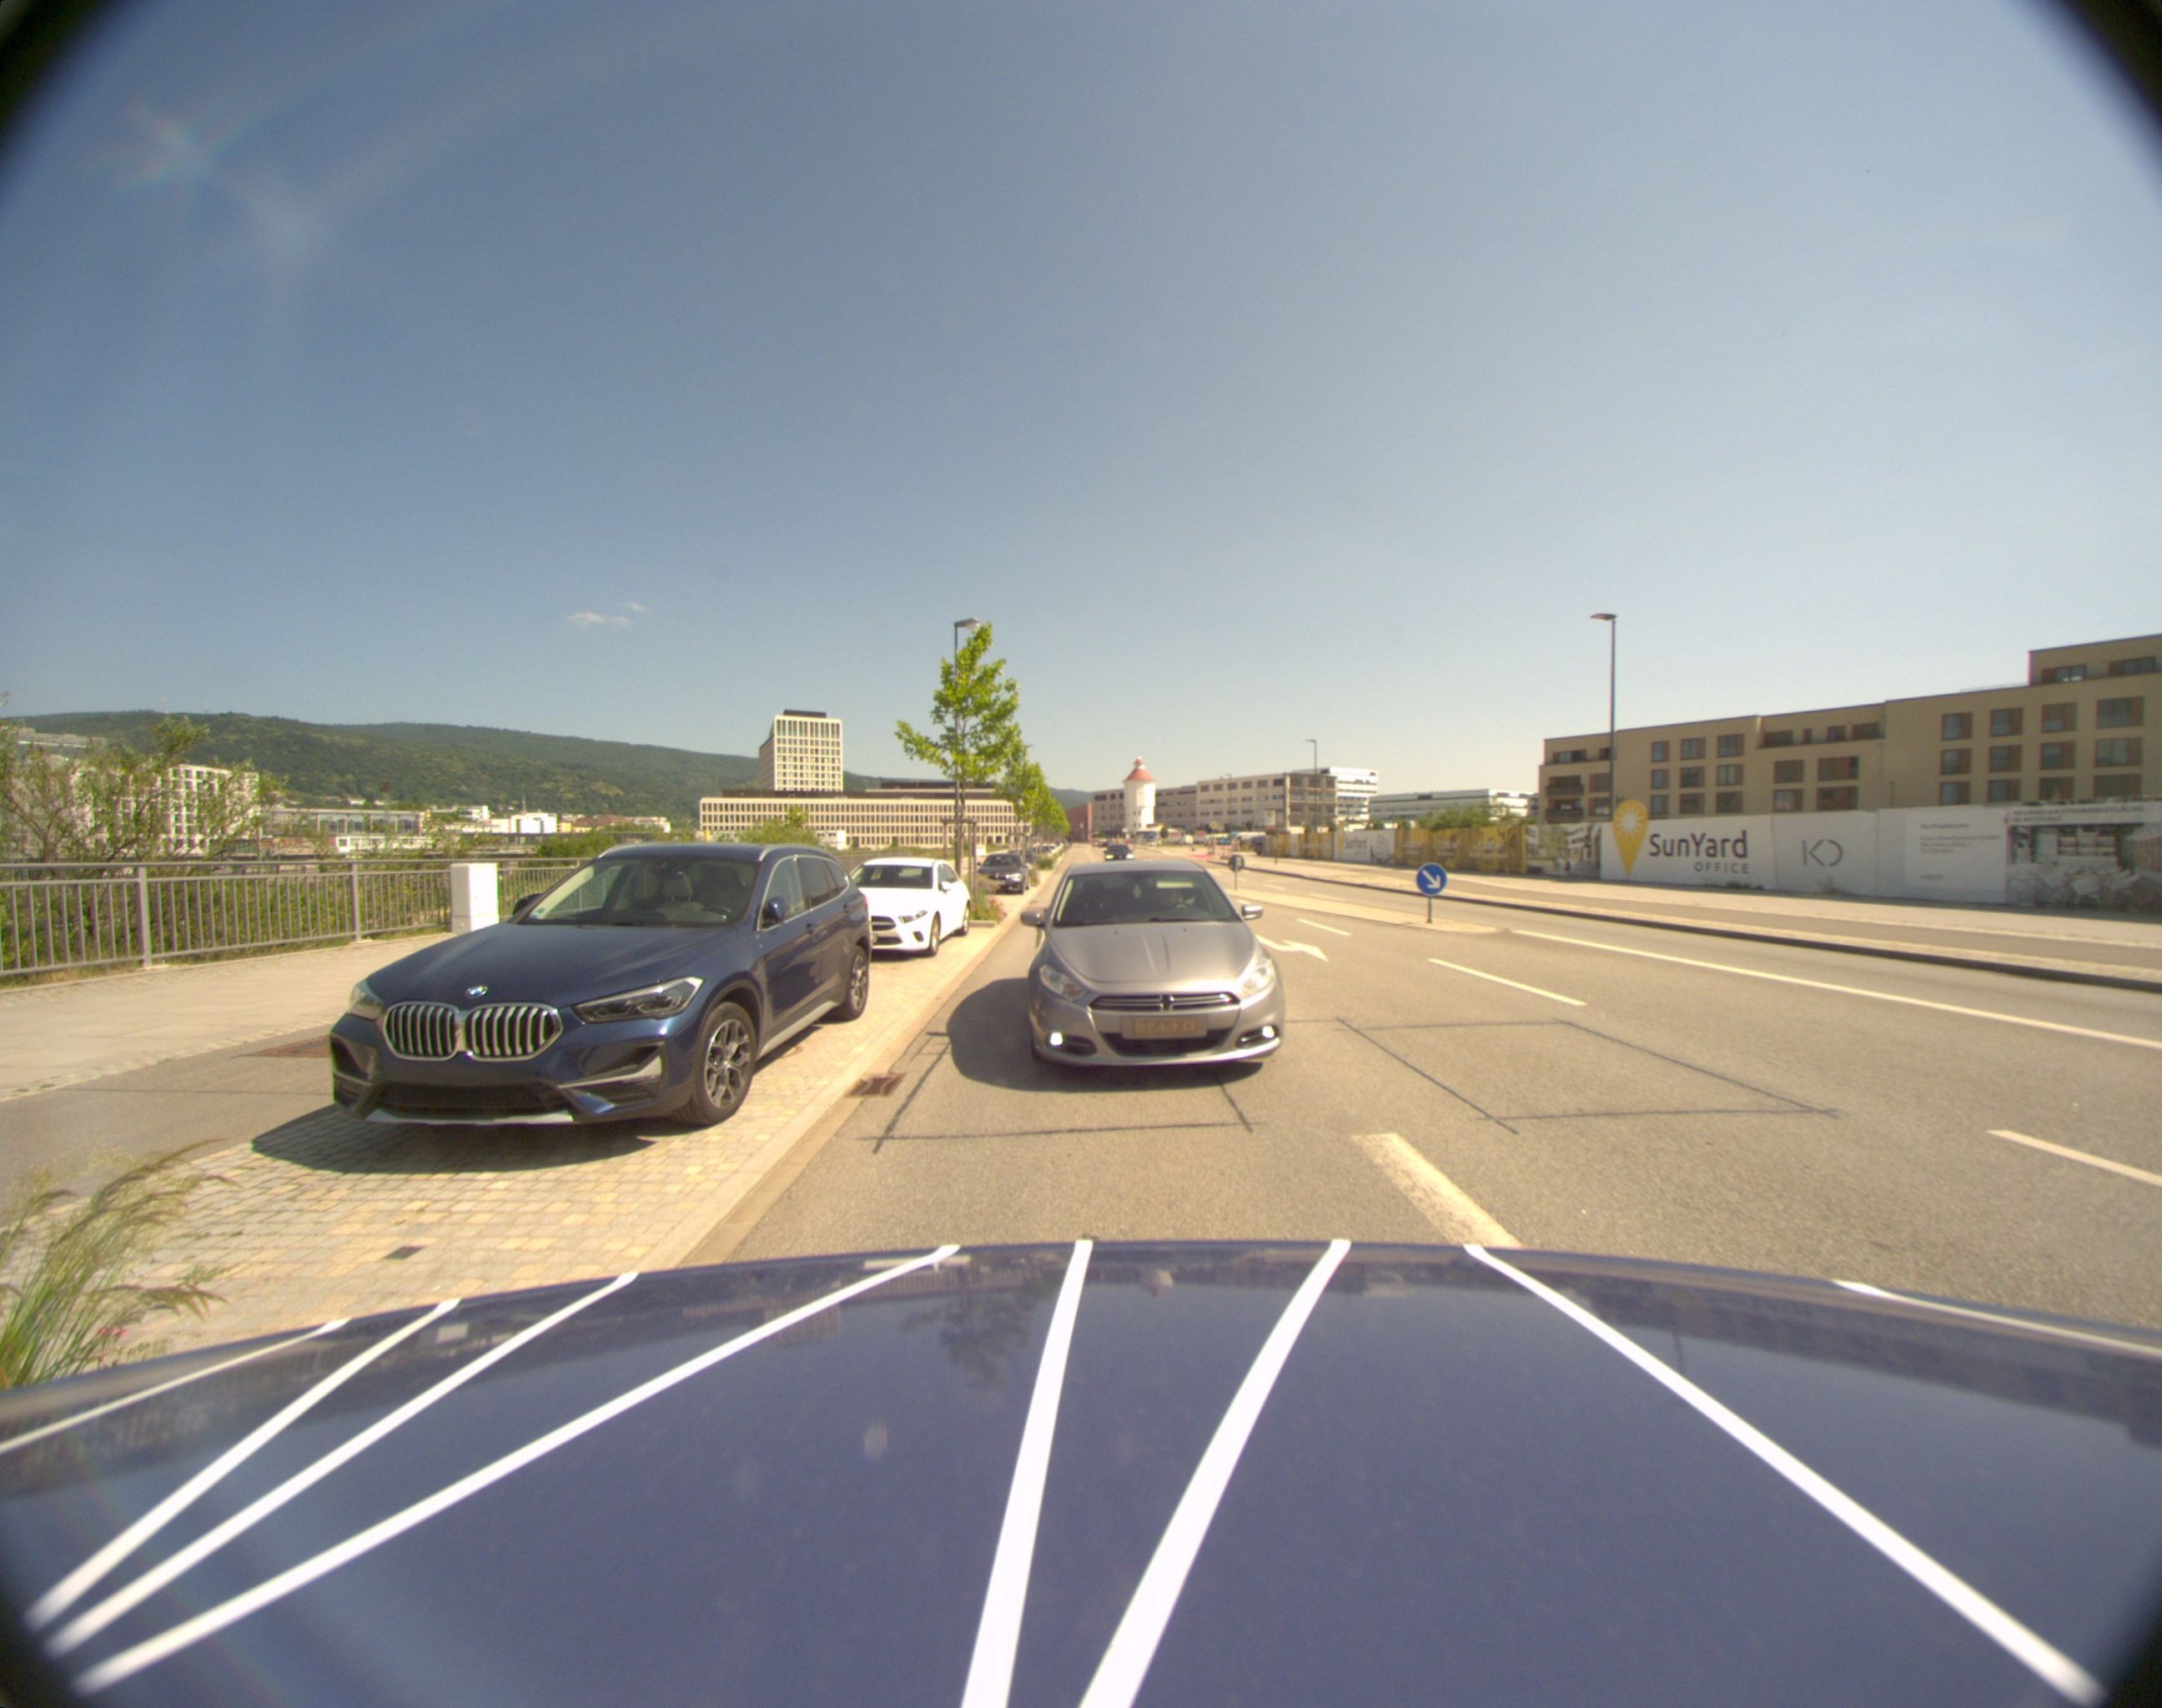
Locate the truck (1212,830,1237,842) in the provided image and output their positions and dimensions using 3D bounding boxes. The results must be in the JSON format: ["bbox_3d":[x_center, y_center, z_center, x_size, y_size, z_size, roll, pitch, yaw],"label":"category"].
[{"bbox_3d":[33.385,-4.176,177.277,5.333,2.461,1.999,-3,1,-4],"label":"truck"}]

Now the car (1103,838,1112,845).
[{"bbox_3d":[5.766,-2.653,163.383,1.820,1.458,4.346,-1,1,1],"label":"car"}]

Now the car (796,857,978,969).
[{"bbox_3d":[-2.936,0.815,12.464,1.710,1.366,4.270,2,1,2],"label":"car"}]

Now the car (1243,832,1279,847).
[{"bbox_3d":[22.878,-1.868,96.580,3.930,1.708,1.891,-3,1,-5],"label":"car"}]

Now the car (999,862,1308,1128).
[{"bbox_3d":[0.471,0.872,6.724,1.820,1.458,4.346,-1,1,1],"label":"car"}]

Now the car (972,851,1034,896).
[{"bbox_3d":[-2.790,0.656,27.856,1.808,1.424,3.915,2,1,0],"label":"car"}]

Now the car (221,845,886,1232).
[{"bbox_3d":[-2.878,0.798,5.498,1.808,1.674,4.270,1,1,0],"label":"car"}]

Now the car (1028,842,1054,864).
[{"bbox_3d":[-3.197,-0.133,60.832,1.768,1.609,3.373,-3,1,0],"label":"car"}]

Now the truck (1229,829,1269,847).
[{"bbox_3d":[23.367,-2.255,105.926,5.005,2.215,1.999,-2,1,-1],"label":"truck"}]

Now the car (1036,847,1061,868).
[{"bbox_3d":[-2.172,0.225,50.701,1.490,1.302,3.154,2,1,0],"label":"car"}]

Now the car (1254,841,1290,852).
[{"bbox_3d":[19.575,-0.780,78.053,3.359,0.947,1.293,-2,1,3],"label":"car"}]

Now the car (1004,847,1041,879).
[{"bbox_3d":[-2.923,0.435,38.528,1.569,1.465,3.006,2,1,0],"label":"car"}]

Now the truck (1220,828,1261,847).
[{"bbox_3d":[23.736,-2.459,113.331,5.633,2.461,1.999,-3,1,-4],"label":"truck"}]

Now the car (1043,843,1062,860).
[{"bbox_3d":[-2.656,-0.283,70.523,1.526,1.482,3.504,-3,1,0],"label":"car"}]

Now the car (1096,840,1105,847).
[{"bbox_3d":[4.393,-2.440,171.429,1.820,1.458,3.912,-1,1,1],"label":"car"}]

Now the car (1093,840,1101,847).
[{"bbox_3d":[4.130,-2.809,197.473,1.820,1.729,4.345,-1,2,1],"label":"car"}]

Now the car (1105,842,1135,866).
[{"bbox_3d":[2.626,-0.011,51.635,1.819,1.458,4.347,-3,1,2],"label":"car"}]

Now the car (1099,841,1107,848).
[{"bbox_3d":[5.325,-2.312,182.758,1.819,1.458,3.876,-1,1,2],"label":"car"}]
